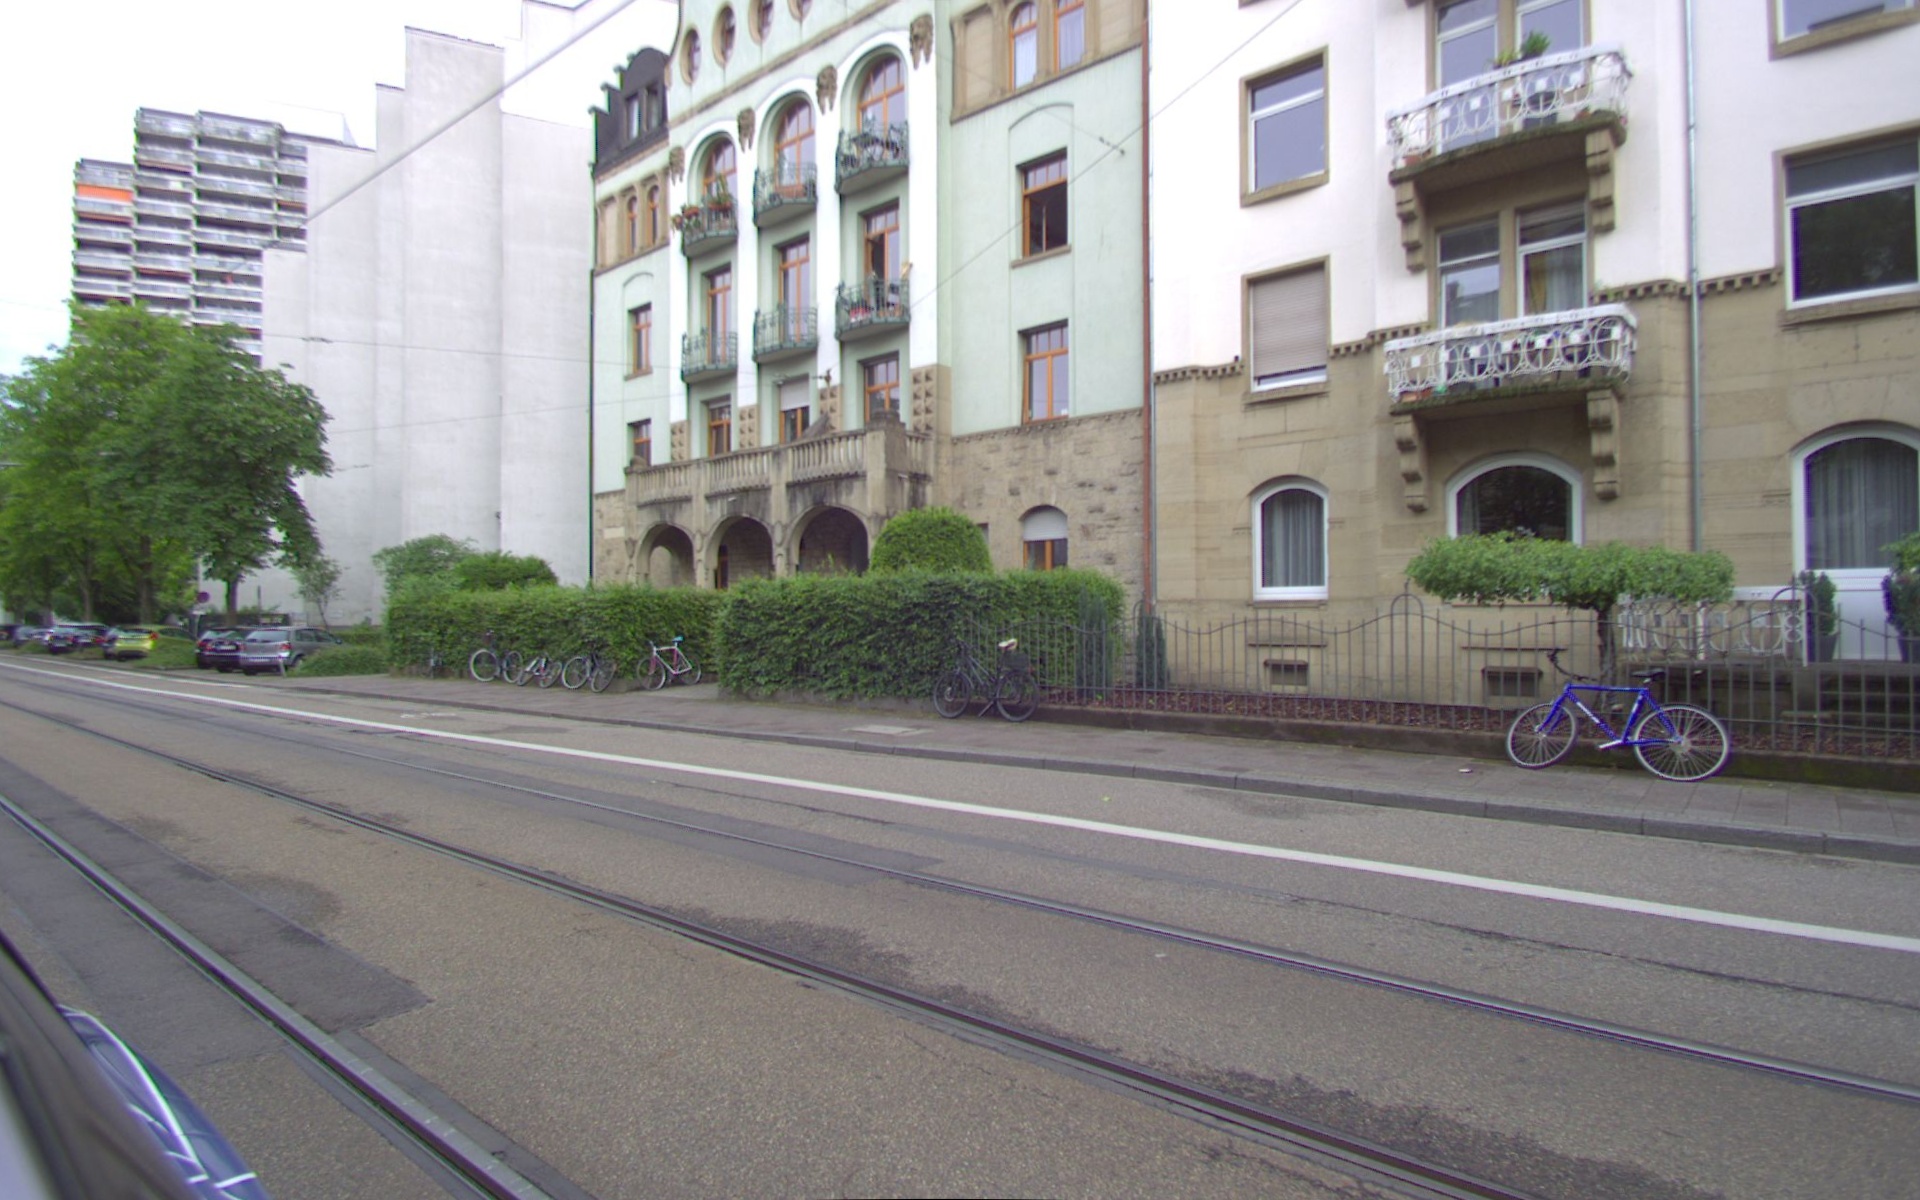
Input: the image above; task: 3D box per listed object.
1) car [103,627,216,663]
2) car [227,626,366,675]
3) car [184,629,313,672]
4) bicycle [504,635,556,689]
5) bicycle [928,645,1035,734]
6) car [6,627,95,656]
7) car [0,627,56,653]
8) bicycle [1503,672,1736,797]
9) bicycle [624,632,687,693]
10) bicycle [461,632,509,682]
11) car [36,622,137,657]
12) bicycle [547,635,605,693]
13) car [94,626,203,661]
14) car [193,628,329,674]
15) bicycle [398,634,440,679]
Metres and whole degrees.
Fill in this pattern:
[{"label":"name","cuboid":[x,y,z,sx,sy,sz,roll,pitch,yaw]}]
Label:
[{"label":"car","cuboid":[-32.857,1.801,41.693,1.670,1.405,4.003,0,-2,-3]},{"label":"car","cuboid":[-20.429,1.530,31.366,1.672,1.414,3.999,0,-2,0]},{"label":"car","cuboid":[-24.811,1.731,35.469,1.672,1.414,3.999,0,-2,0]},{"label":"bicycle","cuboid":[-9.075,1.292,21.331,1.545,1.092,0.356,-1,-2,40]},{"label":"bicycle","cuboid":[0.271,1.161,13.455,1.545,1.092,0.356,-1,-2,40]},{"label":"car","cuboid":[-52.707,2.361,58.743,1.670,1.632,4.003,0,-2,-3]},{"label":"car","cuboid":[-60.450,2.521,64.794,1.670,1.632,4.003,0,-2,-3]},{"label":"bicycle","cuboid":[5.769,1.151,8.911,1.661,0.935,0.354,-3,-21,43]},{"label":"bicycle","cuboid":[-5.977,1.213,19.910,0.300,1.091,1.190,-2,0,41]},{"label":"bicycle","cuboid":[-10.716,1.278,22.828,1.545,1.092,0.356,-1,-2,40]},{"label":"car","cuboid":[-42.794,1.928,49.707,1.670,1.632,4.003,0,-2,-3]},{"label":"bicycle","cuboid":[-7.607,1.251,20.022,1.545,1.092,0.356,-1,-2,40]},{"label":"car","cuboid":[-35.039,1.851,43.835,1.670,1.453,4.003,0,-2,-3]},{"label":"car","cuboid":[-22.706,1.609,33.053,1.672,1.414,3.999,0,-2,0]},{"label":"bicycle","cuboid":[-13.355,1.379,24.968,1.545,1.092,0.356,-1,-2,40]}]
